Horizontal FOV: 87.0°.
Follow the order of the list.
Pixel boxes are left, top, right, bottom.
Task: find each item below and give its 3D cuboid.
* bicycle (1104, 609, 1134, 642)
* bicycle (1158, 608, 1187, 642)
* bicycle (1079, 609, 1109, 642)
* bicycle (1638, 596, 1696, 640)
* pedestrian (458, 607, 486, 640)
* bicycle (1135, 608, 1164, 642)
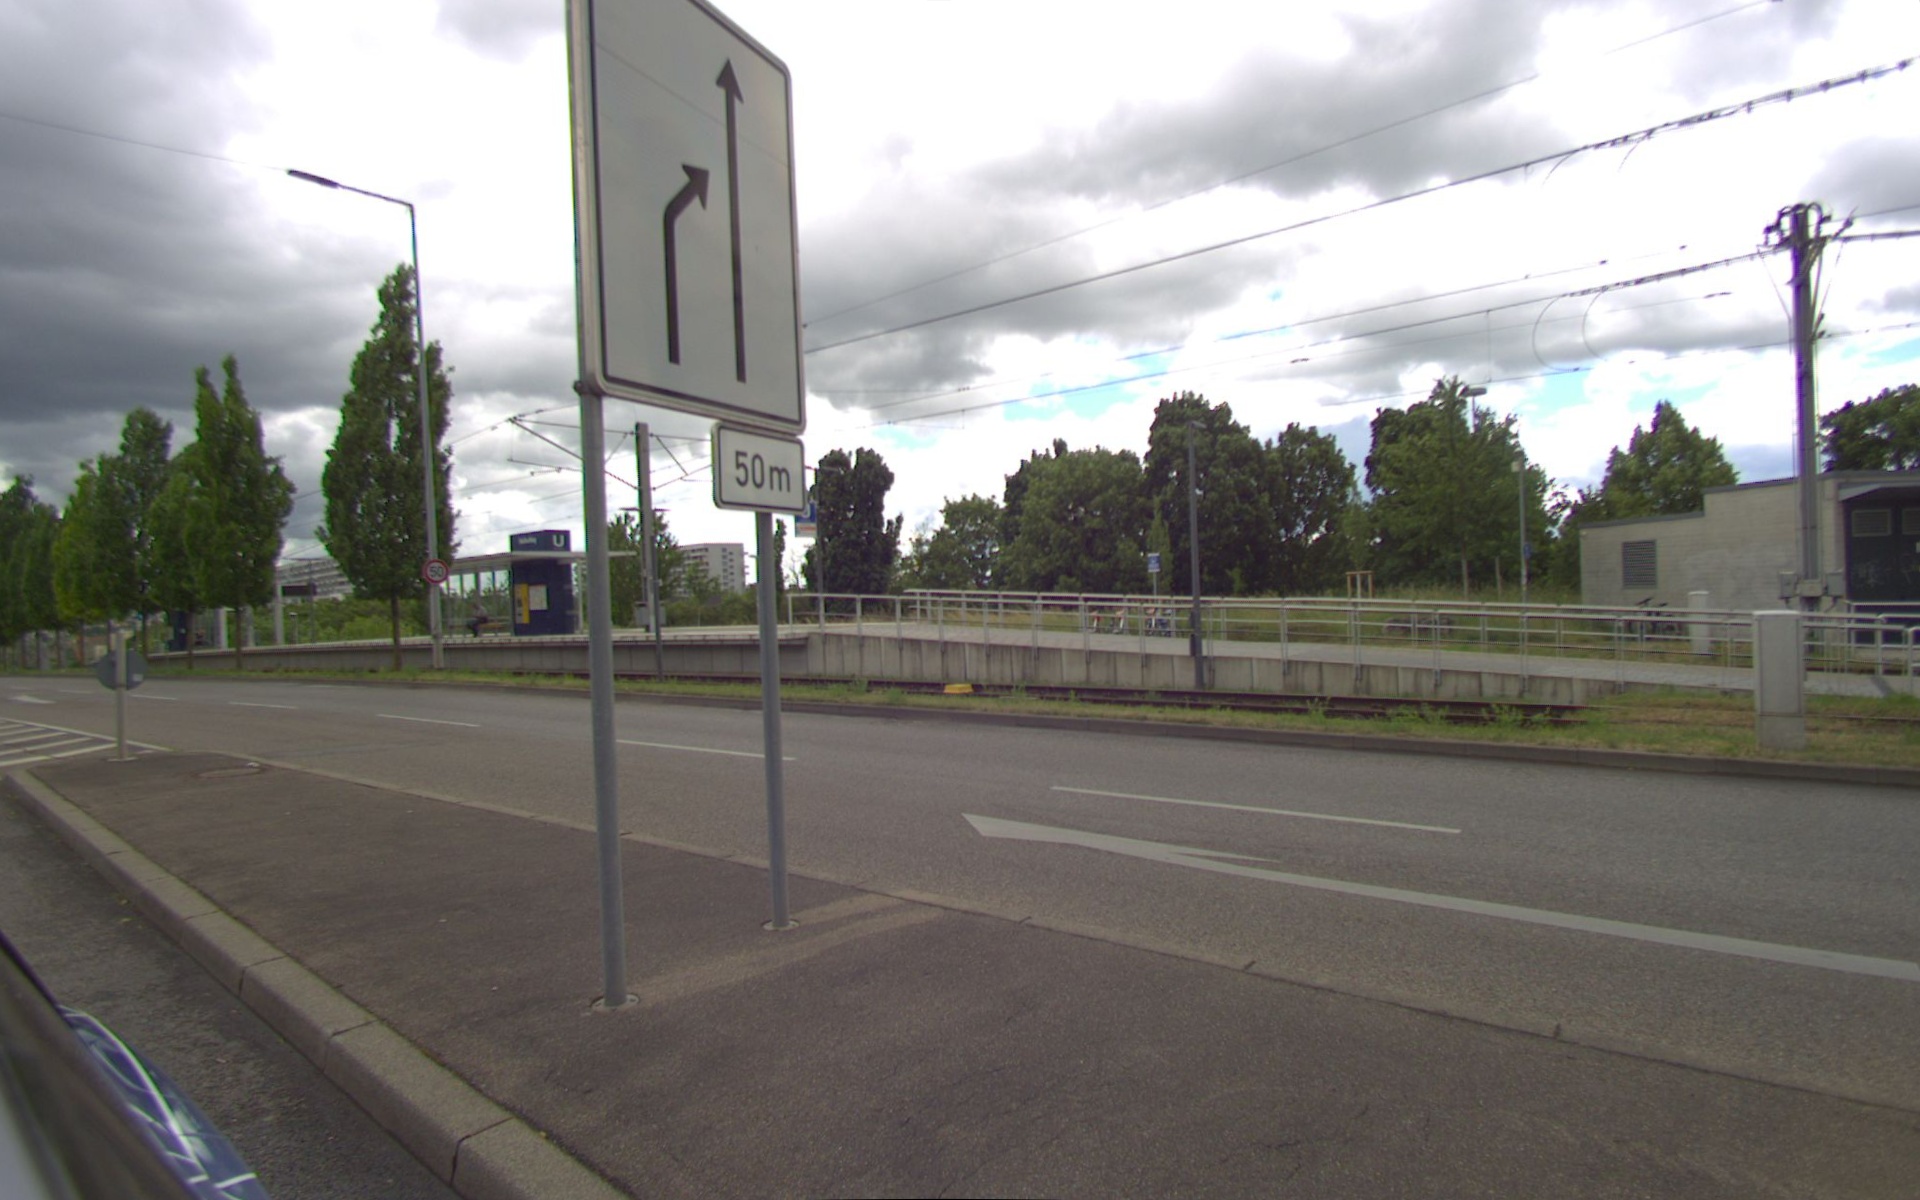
[{"bbox_3d":[5.426,0.868,34.457,0.490,1.095,1.466,-2,-1,30],"label":"bicycle"},{"bbox_3d":[7.032,0.816,33.466,0.490,1.095,1.466,-2,-1,30],"label":"bicycle"},{"bbox_3d":[4.669,0.884,35.159,0.490,1.095,1.466,-2,-1,30],"label":"bicycle"},{"bbox_3d":[18.181,0.458,26.058,0.486,1.095,1.480,-1,-1,3],"label":"bicycle"},{"bbox_3d":[-18.264,0.880,37.871,0.781,1.211,0.656,-2,-1,33],"label":"pedestrian"},{"bbox_3d":[6.367,0.825,33.946,0.490,1.095,1.466,-2,-1,30],"label":"bicycle"}]
